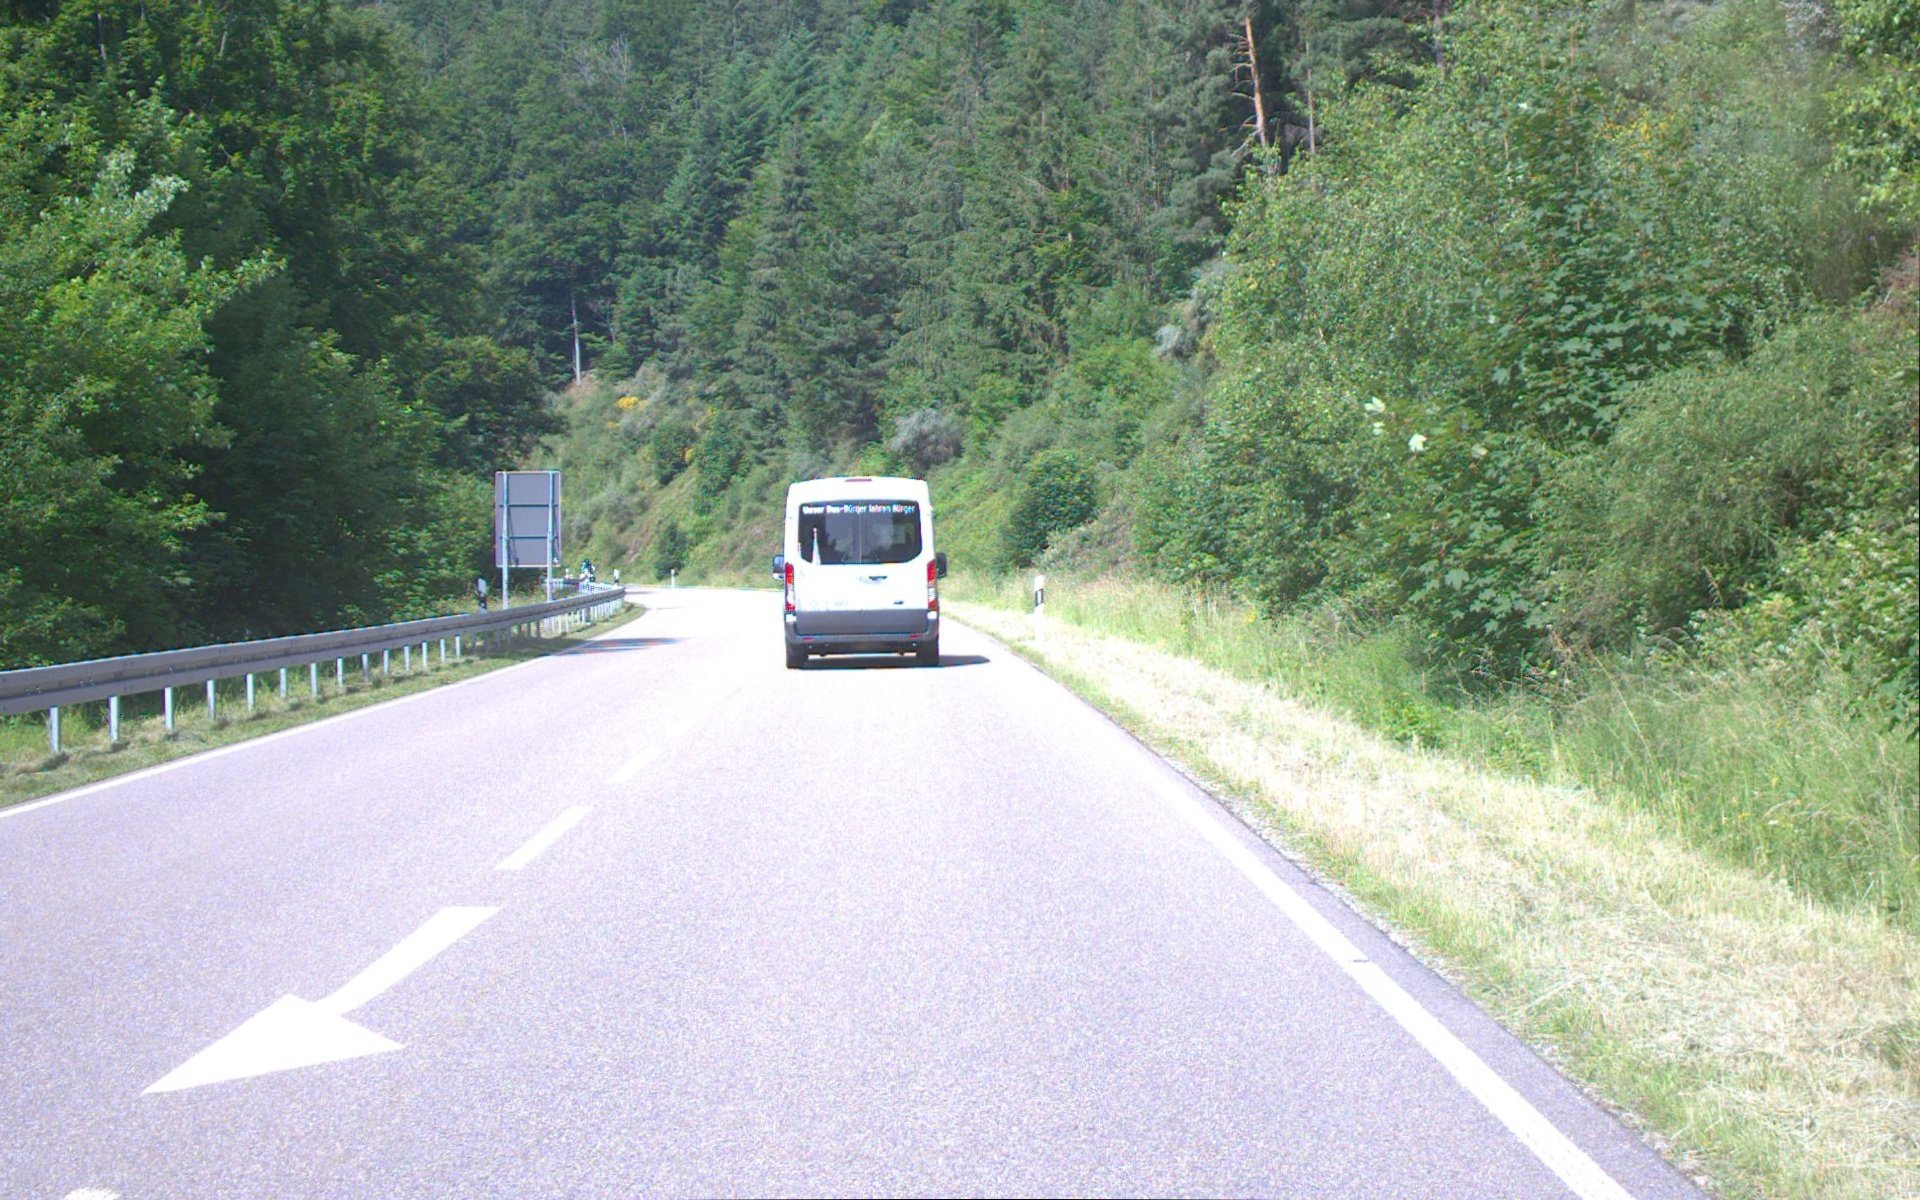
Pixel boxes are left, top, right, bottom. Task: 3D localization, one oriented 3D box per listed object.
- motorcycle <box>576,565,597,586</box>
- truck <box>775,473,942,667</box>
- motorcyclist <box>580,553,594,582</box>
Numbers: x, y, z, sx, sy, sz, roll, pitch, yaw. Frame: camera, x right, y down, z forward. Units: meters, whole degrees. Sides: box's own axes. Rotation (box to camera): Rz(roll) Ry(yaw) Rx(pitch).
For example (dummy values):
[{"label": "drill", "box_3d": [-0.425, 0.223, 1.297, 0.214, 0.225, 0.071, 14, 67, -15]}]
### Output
[{"label": "motorcycle", "box_3d": [-19.846, -1.311, 182.655, 0.984, 1.068, 1.963, -2, 1, -3]}, {"label": "truck", "box_3d": [-1.303, -0.406, 46.013, 2.083, 2.451, 4.875, -1, 1, 0]}, {"label": "motorcyclist", "box_3d": [-19.824, -1.725, 182.573, 0.658, 1.508, 0.934, -2, 1, -3]}]
